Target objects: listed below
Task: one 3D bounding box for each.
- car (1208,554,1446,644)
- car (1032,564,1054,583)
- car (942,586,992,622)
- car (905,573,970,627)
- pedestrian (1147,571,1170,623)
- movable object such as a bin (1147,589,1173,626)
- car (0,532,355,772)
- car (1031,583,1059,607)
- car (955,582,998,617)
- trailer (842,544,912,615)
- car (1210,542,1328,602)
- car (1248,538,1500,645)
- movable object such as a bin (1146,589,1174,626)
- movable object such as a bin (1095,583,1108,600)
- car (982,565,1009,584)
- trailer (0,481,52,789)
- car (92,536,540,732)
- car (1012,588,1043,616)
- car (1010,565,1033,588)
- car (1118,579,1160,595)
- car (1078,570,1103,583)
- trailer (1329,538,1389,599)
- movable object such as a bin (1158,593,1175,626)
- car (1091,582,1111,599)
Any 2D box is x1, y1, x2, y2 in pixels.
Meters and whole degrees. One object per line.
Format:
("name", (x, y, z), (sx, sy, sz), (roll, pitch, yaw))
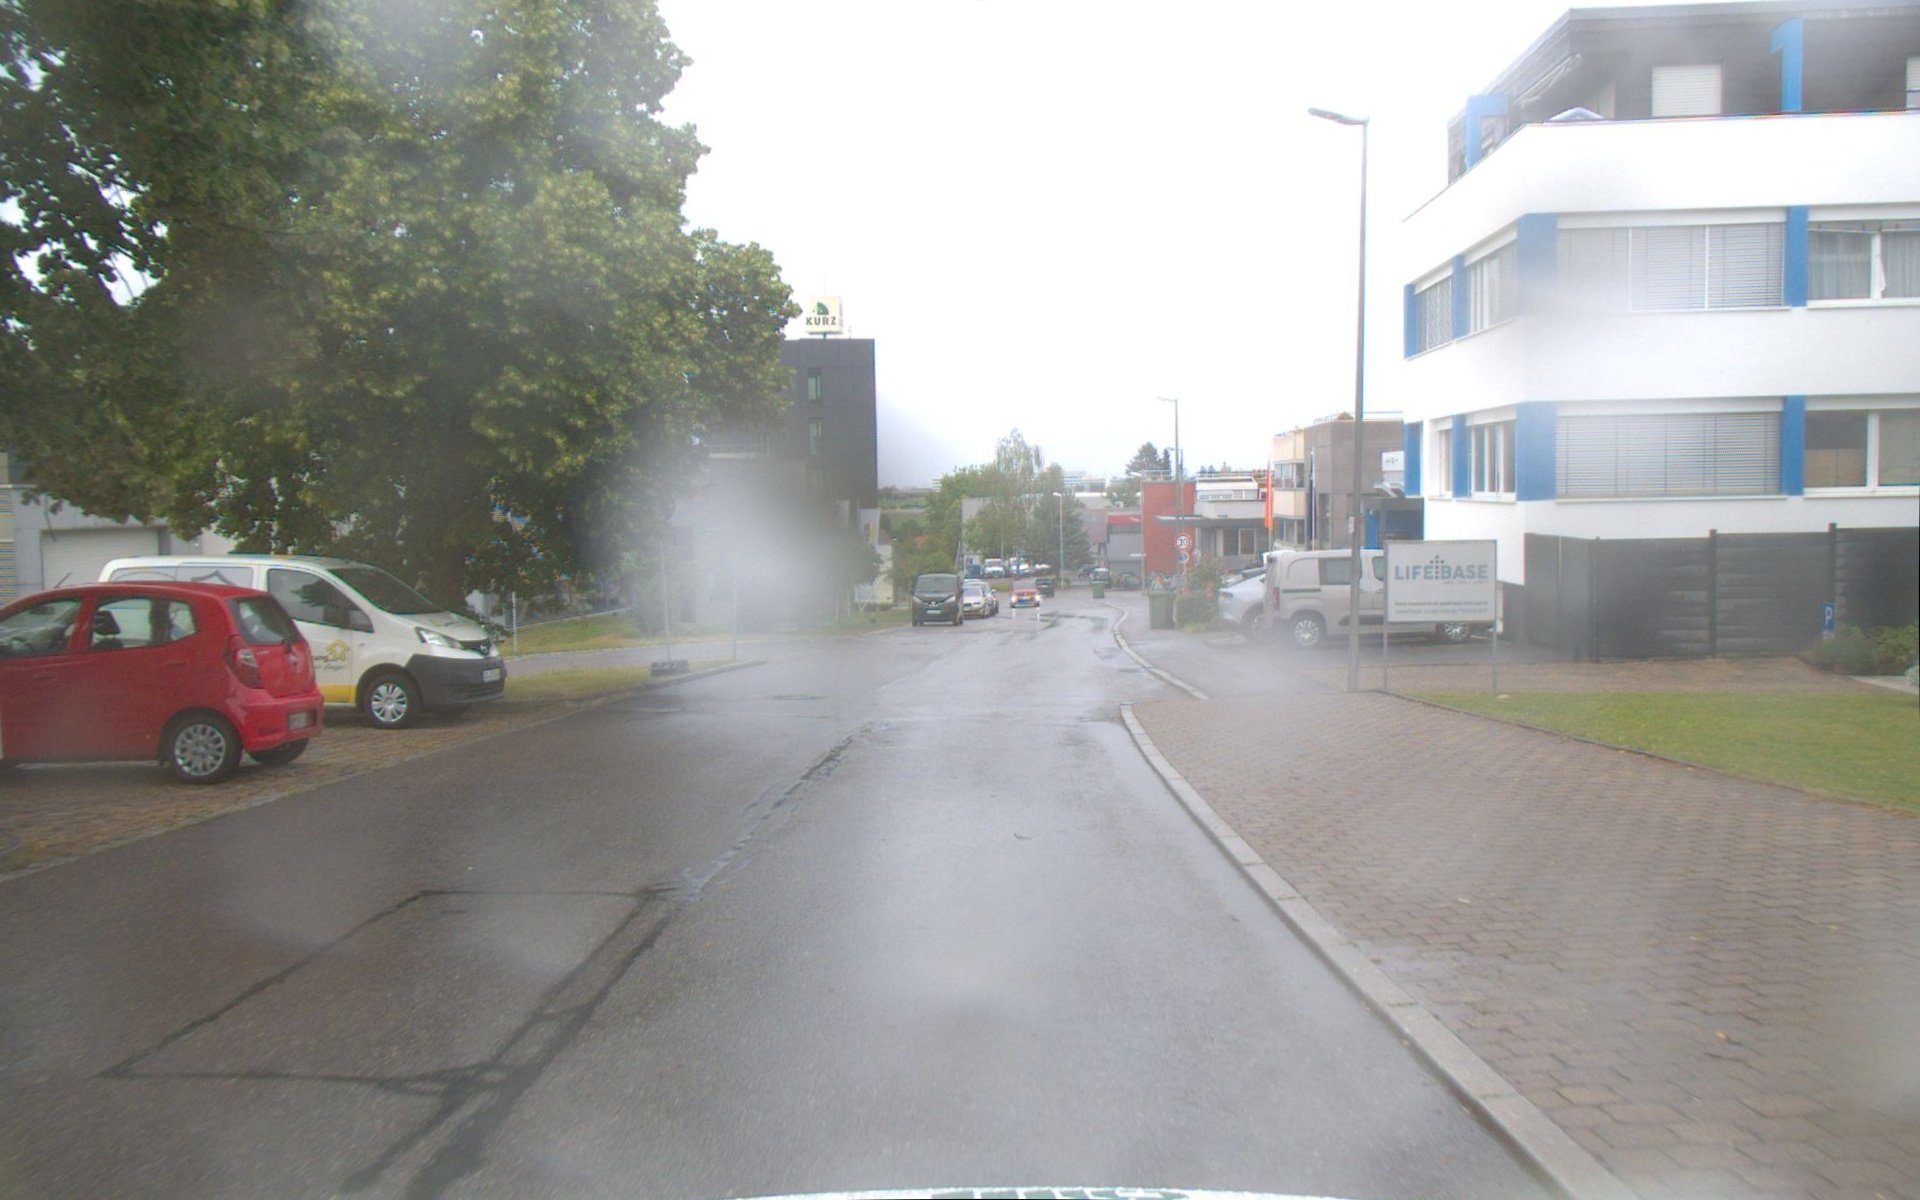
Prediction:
("car", (7.573, -0.033, 34.501), (4.501, 1.565, 2.080), (-3, 0, 3))
("car", (9.420, -3.045, 188.520), (2.102, 2.049, 3.937), (-2, 0, -3))
("car", (0.367, 0.144, 75.375), (1.915, 1.486, 5.250), (-2, 0, 4))
("car", (-0.781, -0.024, 60.767), (1.875, 1.863, 4.851), (-1, 0, 5))
("pedestrian", (6.904, -0.102, 57.480), (0.721, 1.798, 0.809), (-1, 0, 5))
("movable object such as a bin", (5.959, 0.223, 49.223), (0.727, 1.085, 0.637), (-1, 0, 5))
("car", (-7.303, 0.431, 13.394), (4.111, 1.752, 1.754), (-2, 0, -2))
("car", (6.368, -0.351, 124.382), (1.916, 1.705, 4.472), (-2, -1, 0))
("car", (0.856, -0.003, 81.738), (1.916, 1.604, 4.841), (-3, 0, 2))
("trailer", (-5.224, -1.265, 104.033), (4.112, 4.276, 1.994), (-2, 0, 42))
("car", (15.096, -1.336, 81.028), (5.193, 2.046, 2.223), (-10, -1, 4))
("car", (7.770, -0.168, 31.398), (4.250, 1.804, 2.090), (-2, 0, 2))
("movable object such as a bin", (5.857, 0.223, 48.493), (0.755, 1.048, 0.809), (-1, 0, 5))
("movable object such as a bin", (9.592, -0.553, 111.960), (0.790, 1.111, 0.709), (-2, 1, -1))
("car", (4.018, -2.869, 187.422), (2.225, 2.049, 3.989), (-2, 0, -11))
("trailer", (-8.370, 0.291, 10.555), (4.125, 2.019, 1.774), (-2, 0, 1))
("car", (-7.083, 0.371, 18.426), (4.209, 1.939, 1.863), (-2, 0, 7))
("car", (4.084, 0.137, 100.130), (1.711, 1.534, 3.935), (-4, -1, 1))
("car", (6.996, -2.632, 187.670), (2.150, 2.502, 3.996), (-2, 0, -4))
("car", (14.557, -1.063, 134.305), (3.328, 1.183, 1.793), (-1, 1, 6))
("car", (13.764, -2.486, 174.394), (2.496, 1.375, 1.242), (-2, 1, -1))
("trailer", (16.975, -1.362, 70.526), (1.847, 2.458, 4.312), (-2, 1, 5))
("movable object such as a bin", (6.257, 0.284, 50.072), (0.462, 0.984, 0.515), (-1, 0, 5))
("car", (12.983, -0.869, 152.220), (1.661, 1.501, 4.002), (-2, 0, 4))
